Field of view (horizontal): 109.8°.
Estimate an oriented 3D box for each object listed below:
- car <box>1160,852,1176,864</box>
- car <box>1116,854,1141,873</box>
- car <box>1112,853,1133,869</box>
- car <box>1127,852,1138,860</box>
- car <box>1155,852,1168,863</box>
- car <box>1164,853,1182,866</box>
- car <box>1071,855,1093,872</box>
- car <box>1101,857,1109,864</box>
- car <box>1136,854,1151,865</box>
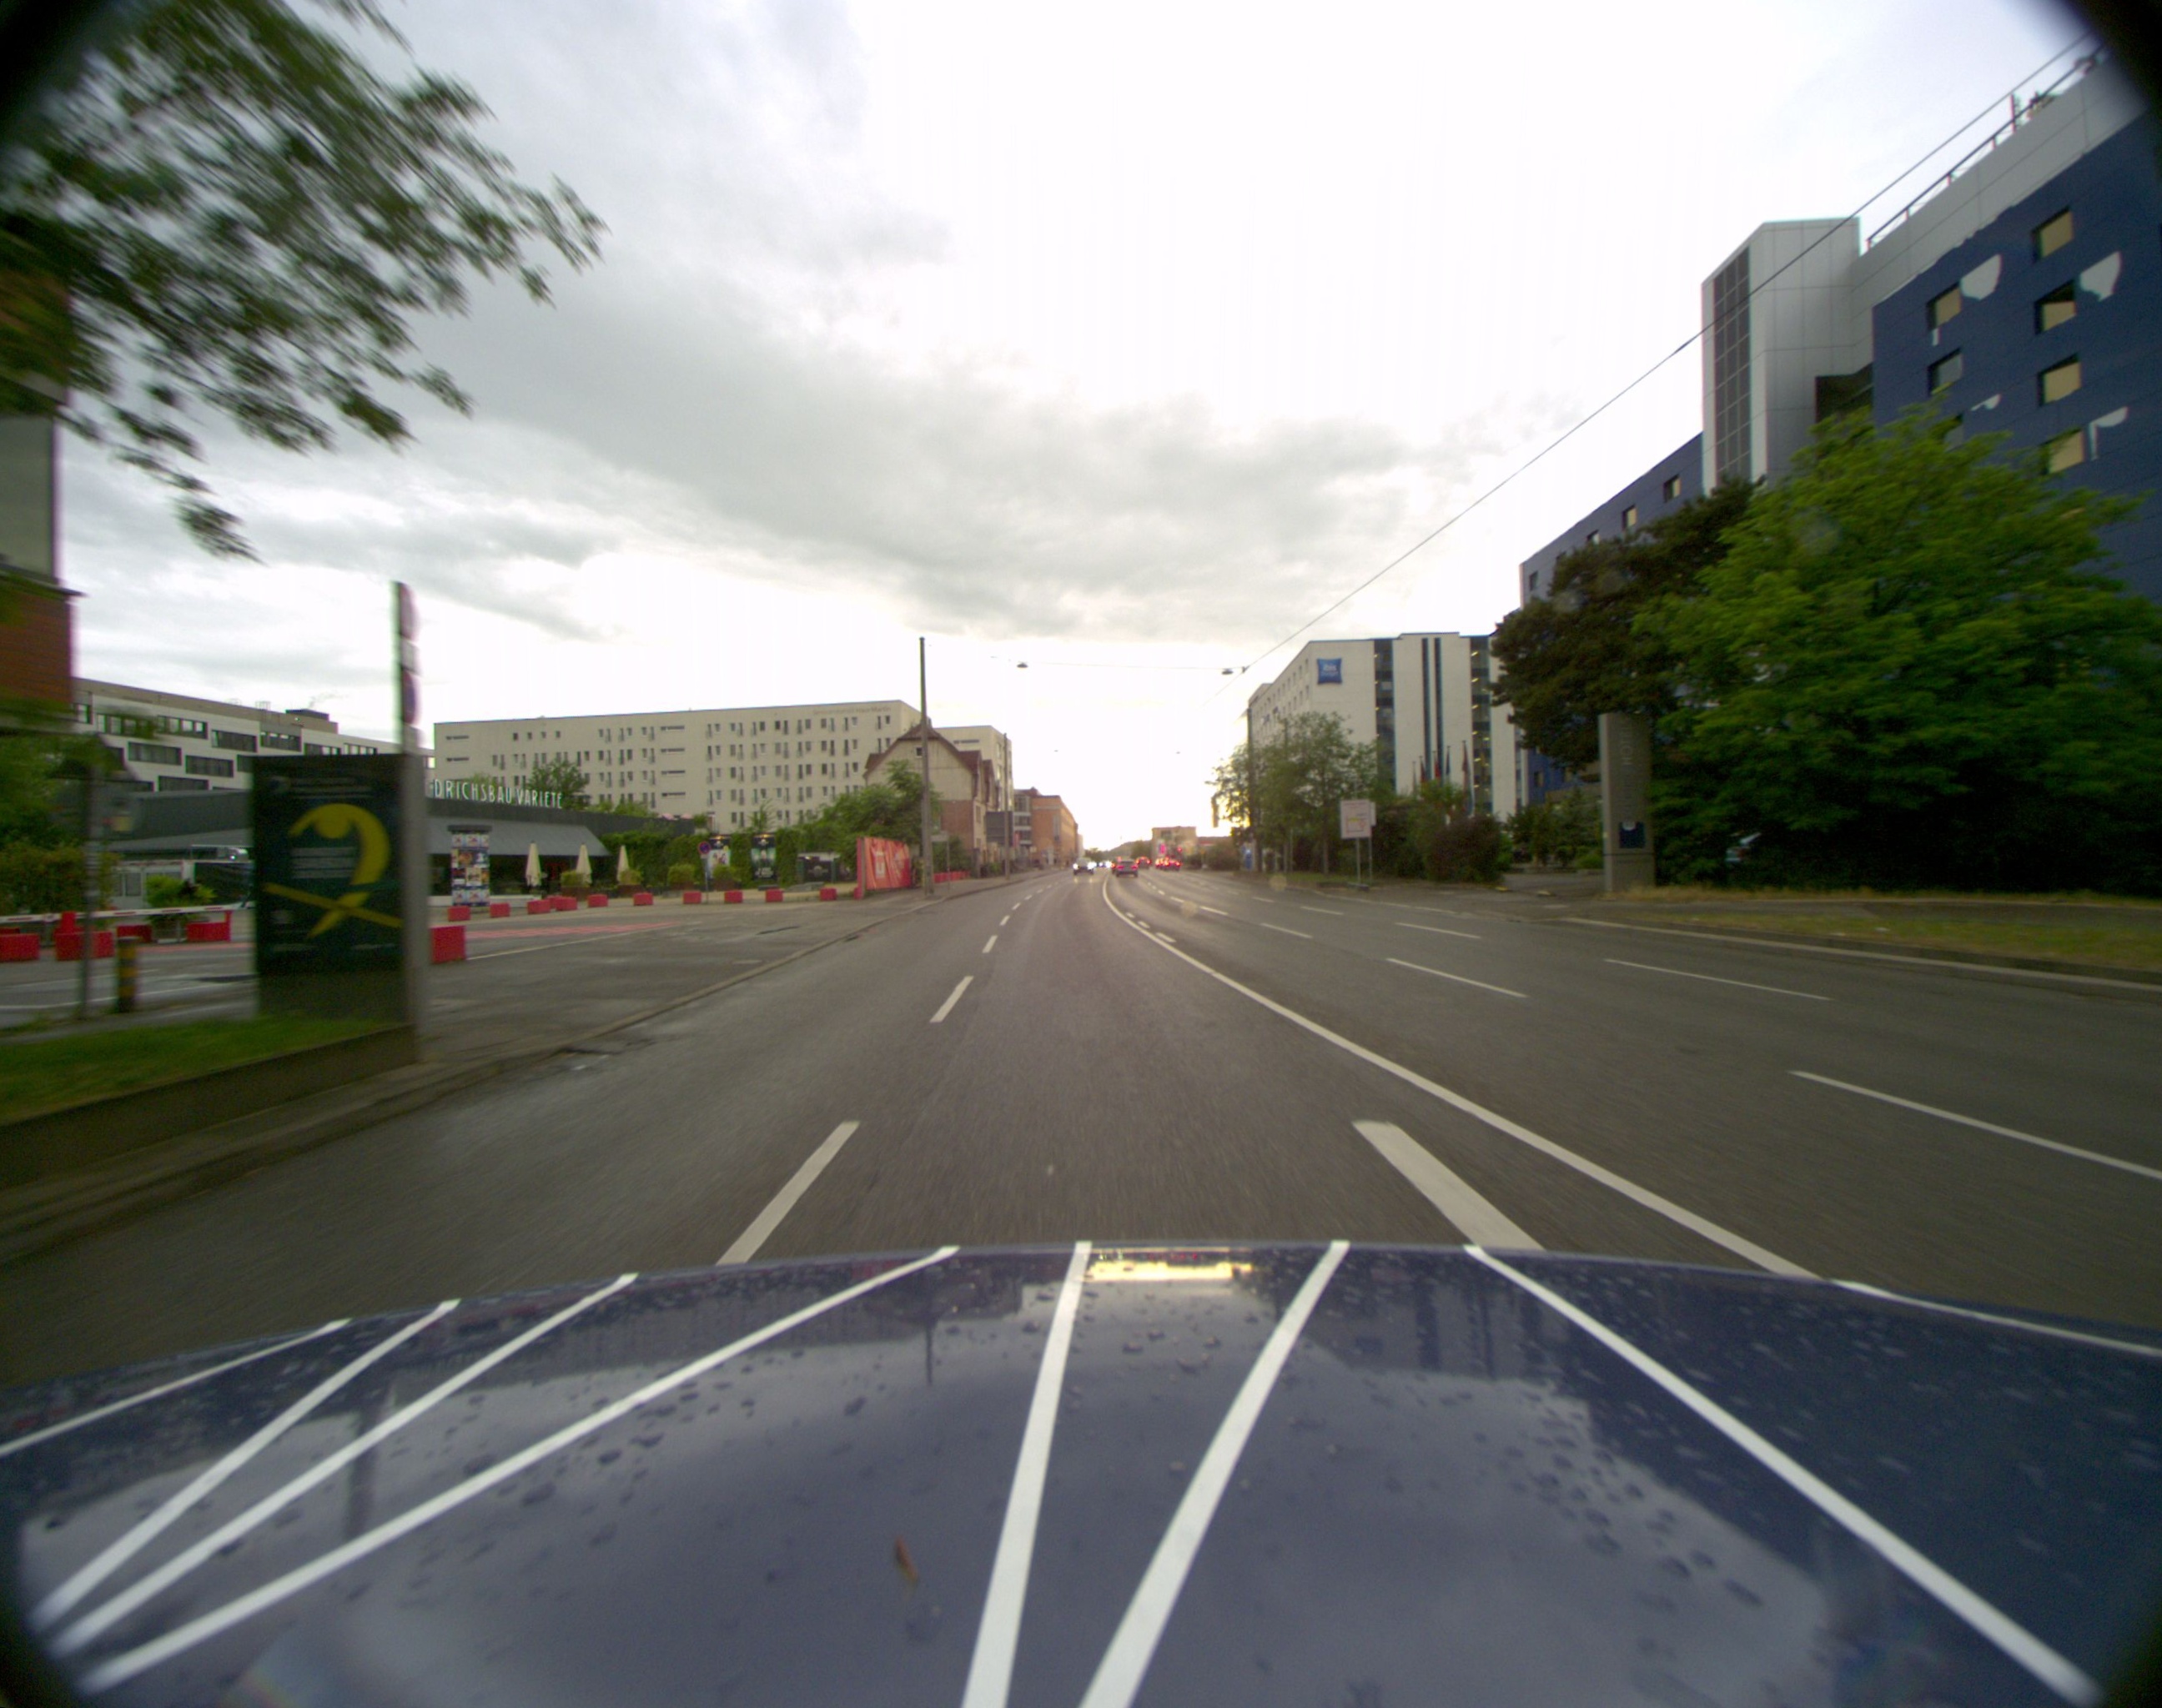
[{"bbox_3d":[12.107,0.526,105.851,1.767,1.559,4.000,1,0,1],"label":"car"},{"bbox_3d":[3.970,0.768,63.780,1.998,1.543,4.001,-1,0,3],"label":"car"},{"bbox_3d":[4.265,0.653,78.021,1.998,1.543,4.001,-1,0,3],"label":"car"},{"bbox_3d":[10.318,0.319,152.502,1.998,1.543,4.001,-1,0,3],"label":"car"},{"bbox_3d":[12.335,0.539,116.576,1.767,1.559,4.000,1,0,1],"label":"car"},{"bbox_3d":[11.367,0.626,94.085,1.767,1.559,4.000,1,0,0],"label":"car"},{"bbox_3d":[0.112,0.938,78.198,1.998,1.656,5.425,-2,0,2],"label":"car"},{"bbox_3d":[5.342,1.456,167.473,1.798,1.501,4.001,0,-1,3],"label":"car"},{"bbox_3d":[8.962,0.751,108.533,1.998,1.543,4.001,-1,0,3],"label":"car"}]
